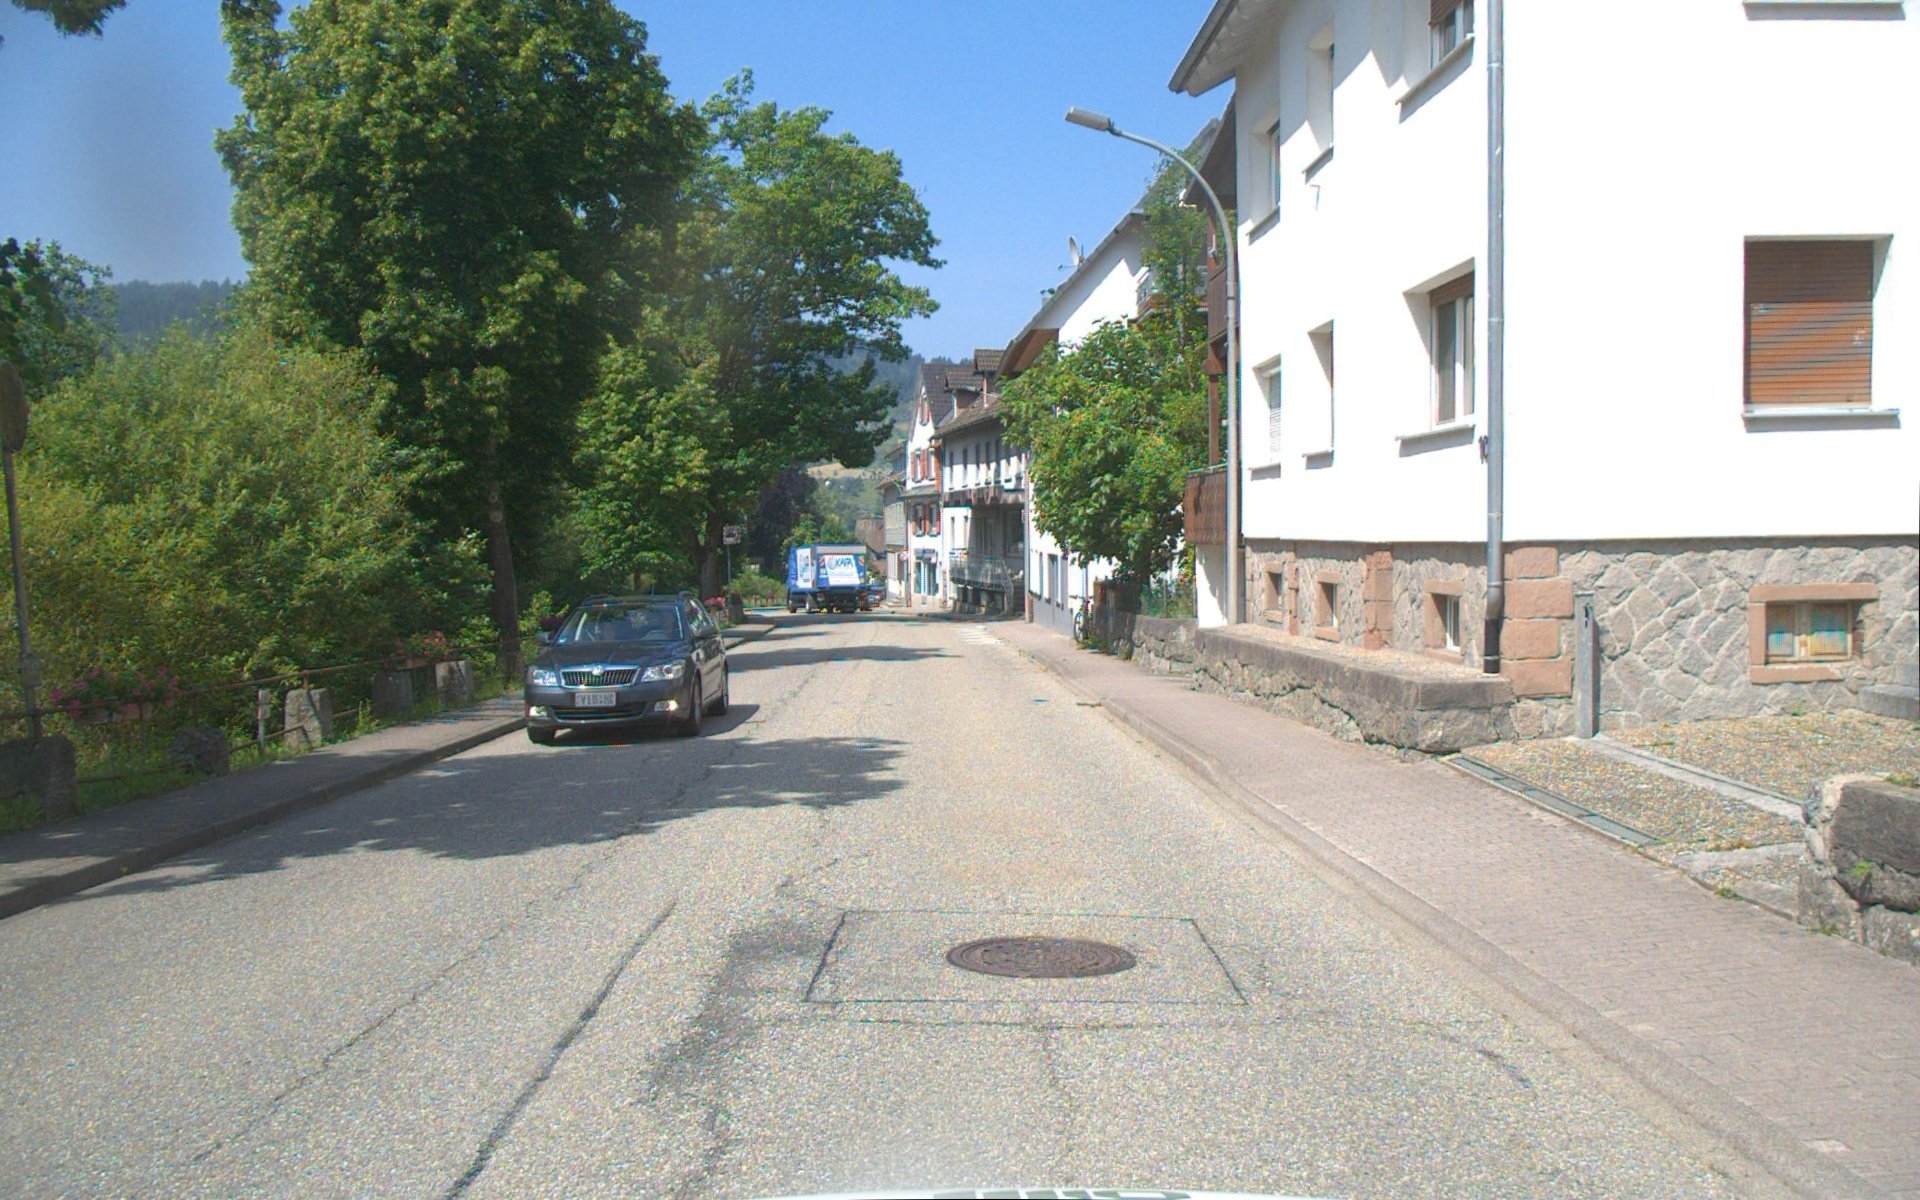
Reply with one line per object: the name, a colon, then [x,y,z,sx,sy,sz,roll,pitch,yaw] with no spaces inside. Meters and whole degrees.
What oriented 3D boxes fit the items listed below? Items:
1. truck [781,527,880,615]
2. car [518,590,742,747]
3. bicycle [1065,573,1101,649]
truck: [-6.788,-1.396,85.326,3.309,3.847,8.403,-4,-1,-16]
car: [-3.457,0.657,18.008,1.632,1.442,4.086,-3,0,-1]
bicycle: [2.428,0.193,32.862,0.417,1.420,2.276,-4,1,-1]
